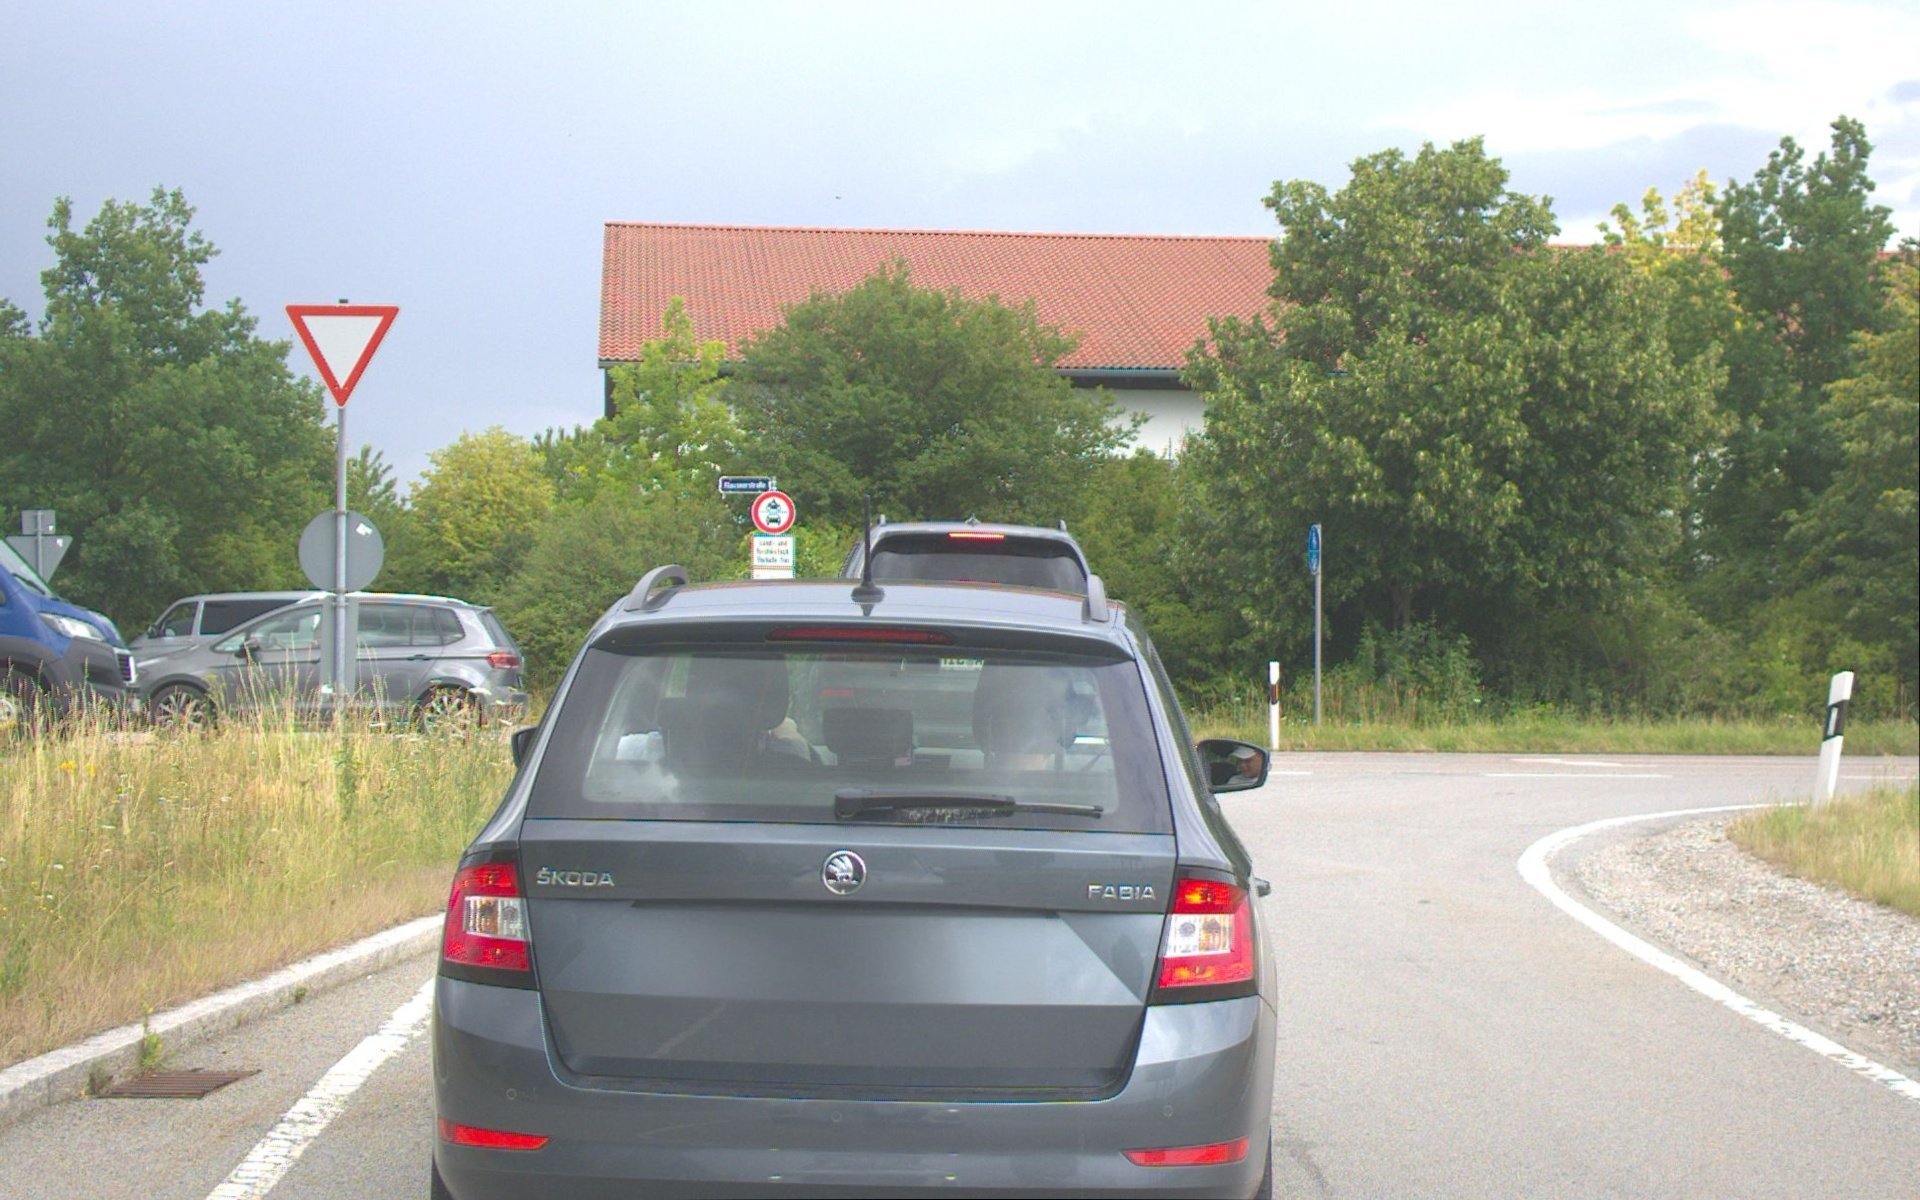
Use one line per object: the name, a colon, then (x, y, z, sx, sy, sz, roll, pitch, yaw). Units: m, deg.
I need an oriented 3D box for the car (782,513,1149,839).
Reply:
car: (-0.048, 0.440, 21.249, 1.993, 1.768, 4.644, 1, -1, -2)

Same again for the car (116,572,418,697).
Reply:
car: (-11.948, 0.551, 59.186, 4.908, 2.007, 2.338, 1, 1, 34)

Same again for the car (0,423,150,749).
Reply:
car: (-9.682, -0.131, 28.563, 5.551, 2.630, 2.150, 0, 1, -8)

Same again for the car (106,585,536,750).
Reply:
car: (-6.556, 0.671, 35.679, 4.209, 1.596, 2.000, -1, 1, -6)

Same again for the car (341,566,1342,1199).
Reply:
car: (-0.254, 0.682, 7.702, 1.676, 1.457, 3.708, 1, 1, -2)
